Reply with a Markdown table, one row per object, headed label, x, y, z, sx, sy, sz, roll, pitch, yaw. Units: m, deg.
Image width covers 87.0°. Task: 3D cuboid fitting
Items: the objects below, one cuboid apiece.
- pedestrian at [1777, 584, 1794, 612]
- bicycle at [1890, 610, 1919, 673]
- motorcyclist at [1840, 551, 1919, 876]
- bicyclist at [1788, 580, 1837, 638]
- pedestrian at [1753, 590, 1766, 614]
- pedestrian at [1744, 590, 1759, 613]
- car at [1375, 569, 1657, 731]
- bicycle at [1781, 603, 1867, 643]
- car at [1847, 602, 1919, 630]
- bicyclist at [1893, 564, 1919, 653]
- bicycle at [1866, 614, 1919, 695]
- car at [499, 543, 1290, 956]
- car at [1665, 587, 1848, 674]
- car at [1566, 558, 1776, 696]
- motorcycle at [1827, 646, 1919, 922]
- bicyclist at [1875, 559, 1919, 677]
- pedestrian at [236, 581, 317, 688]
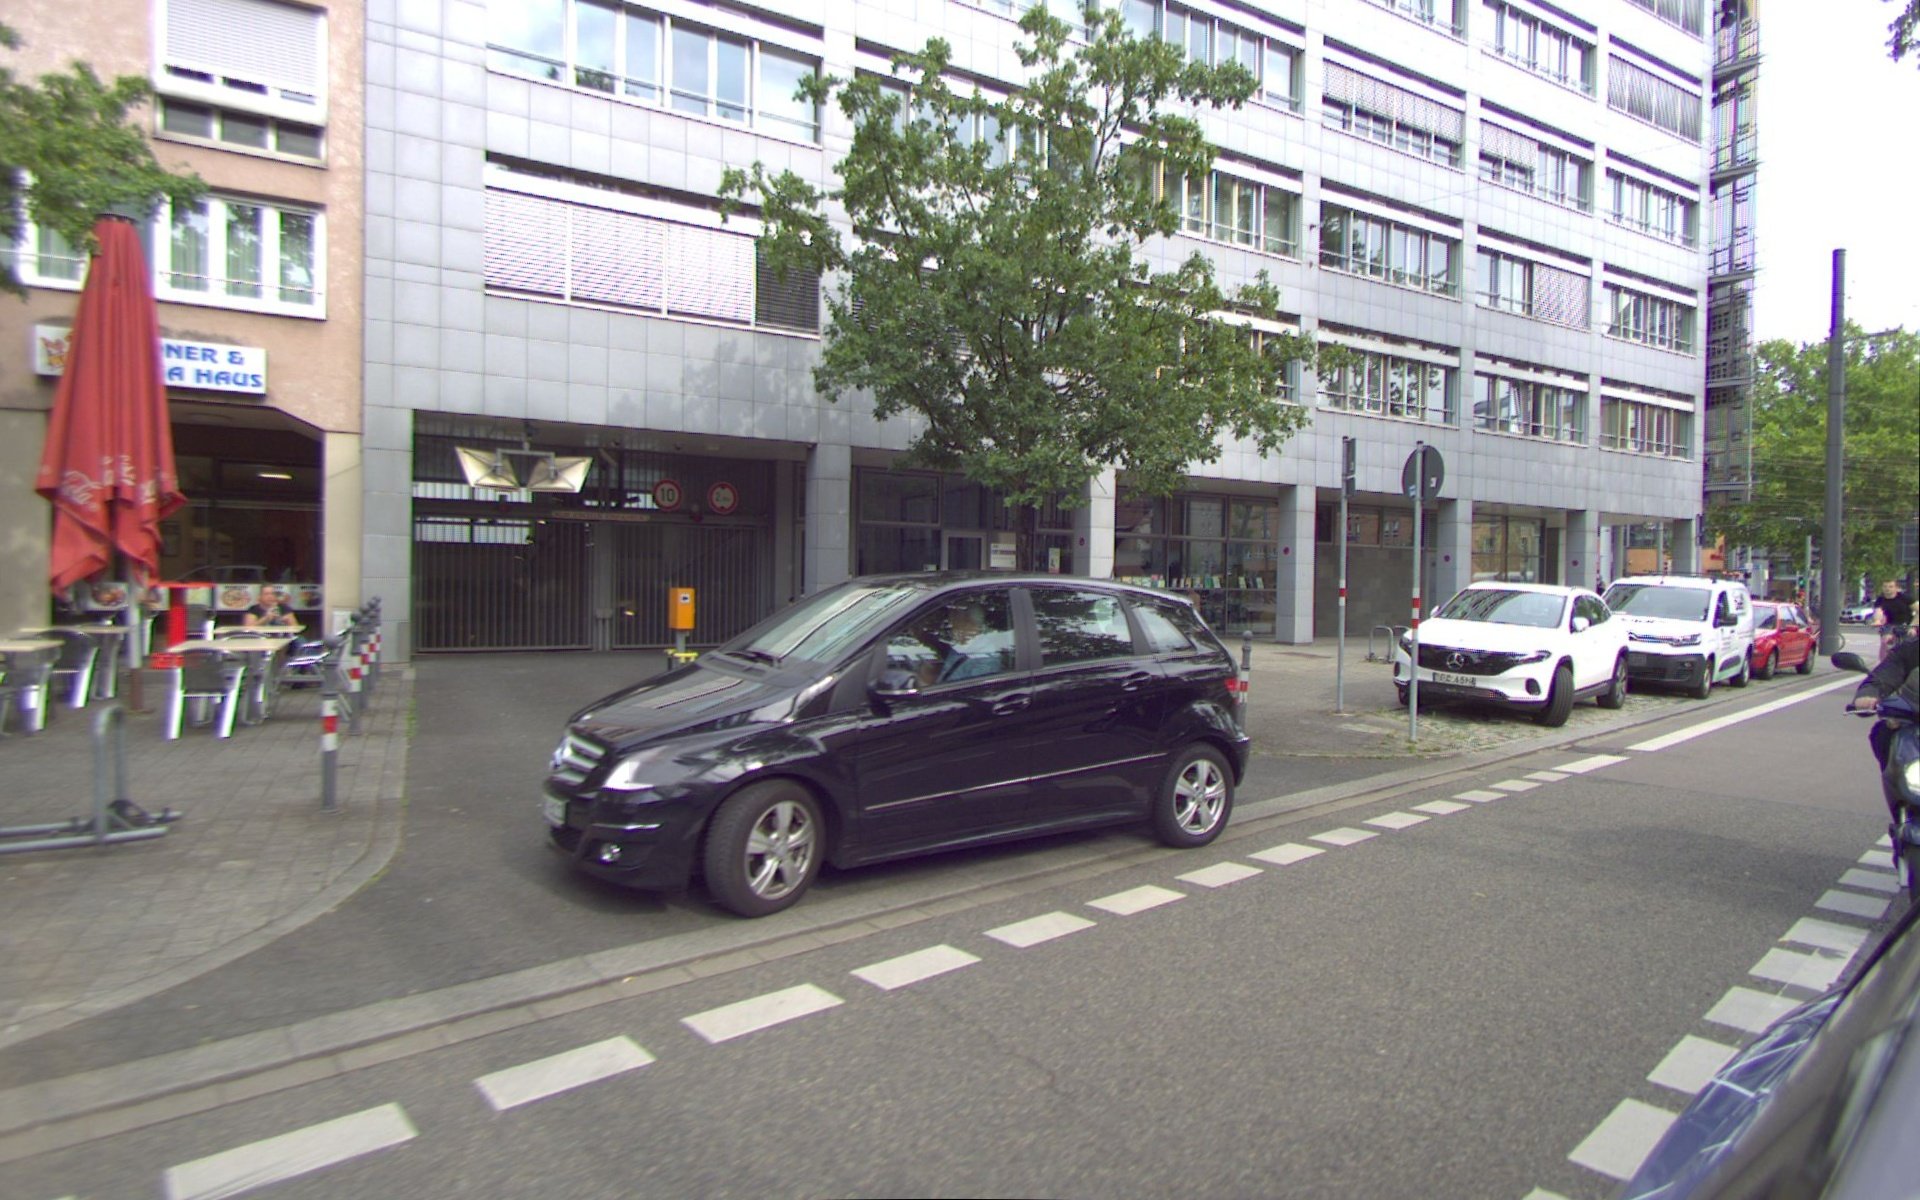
| label | x | y | z | sx | sy | sz | roll | pitch | yaw |
| --- | --- | --- | --- | --- | --- | --- | --- | --- | --- |
| pedestrian | 53.099 | -0.131 | 65.114 | 0.657 | 1.814 | 0.678 | 0 | 1 | -38 |
| bicycle | 18.543 | 0.790 | 19.565 | 1.704 | 1.153 | 0.595 | 0 | 1 | -40 |
| motorcyclist | 4.978 | 0.534 | 5.041 | 1.000 | 1.538 | 0.760 | -1 | 2 | -42 |
| bicyclist | 26.878 | 0.287 | 31.928 | 0.704 | 1.786 | 0.918 | 1 | 1 | -22 |
| pedestrian | 60.817 | 0.147 | 76.986 | 0.729 | 1.753 | 0.588 | 1 | 0 | -32 |
| pedestrian | 57.468 | 0.122 | 73.463 | 0.729 | 1.672 | 0.588 | 0 | 1 | -32 |
| car | 7.299 | 0.506 | 13.060 | 1.996 | 1.622 | 4.509 | 5 | 4 | 44 |
| bicycle | 26.985 | 0.712 | 31.660 | 0.711 | 1.153 | 1.909 | 1 | 1 | -22 |
| car | 57.794 | 0.966 | 62.207 | 4.561 | 1.682 | 1.960 | 0 | 0 | 9 |
| bicyclist | 18.561 | 0.158 | 19.573 | 1.016 | 1.674 | 0.591 | 0 | 1 | -40 |
| bicycle | 14.727 | 0.818 | 15.772 | 2.054 | 1.153 | 0.595 | 0 | 1 | -40 |
| car | -0.217 | 0.553 | 5.855 | 4.221 | 1.596 | 1.782 | 0 | 3 | -34 |
| car | 15.755 | 0.551 | 19.967 | 4.173 | 1.450 | 1.728 | 0 | 3 | -36 |
| car | 11.691 | 0.353 | 16.506 | 4.569 | 1.887 | 1.830 | 0 | 3 | -43 |
| motorcycle | 5.143 | 0.867 | 5.200 | 2.170 | 1.121 | 0.768 | -1 | 2 | -42 |
| bicyclist | 14.832 | 0.263 | 15.843 | 1.016 | 1.790 | 0.591 | 0 | 1 | -40 |
| pedestrian | -7.830 | 0.371 | 11.627 | 0.685 | 1.171 | 0.824 | 1 | 1 | -28 |
